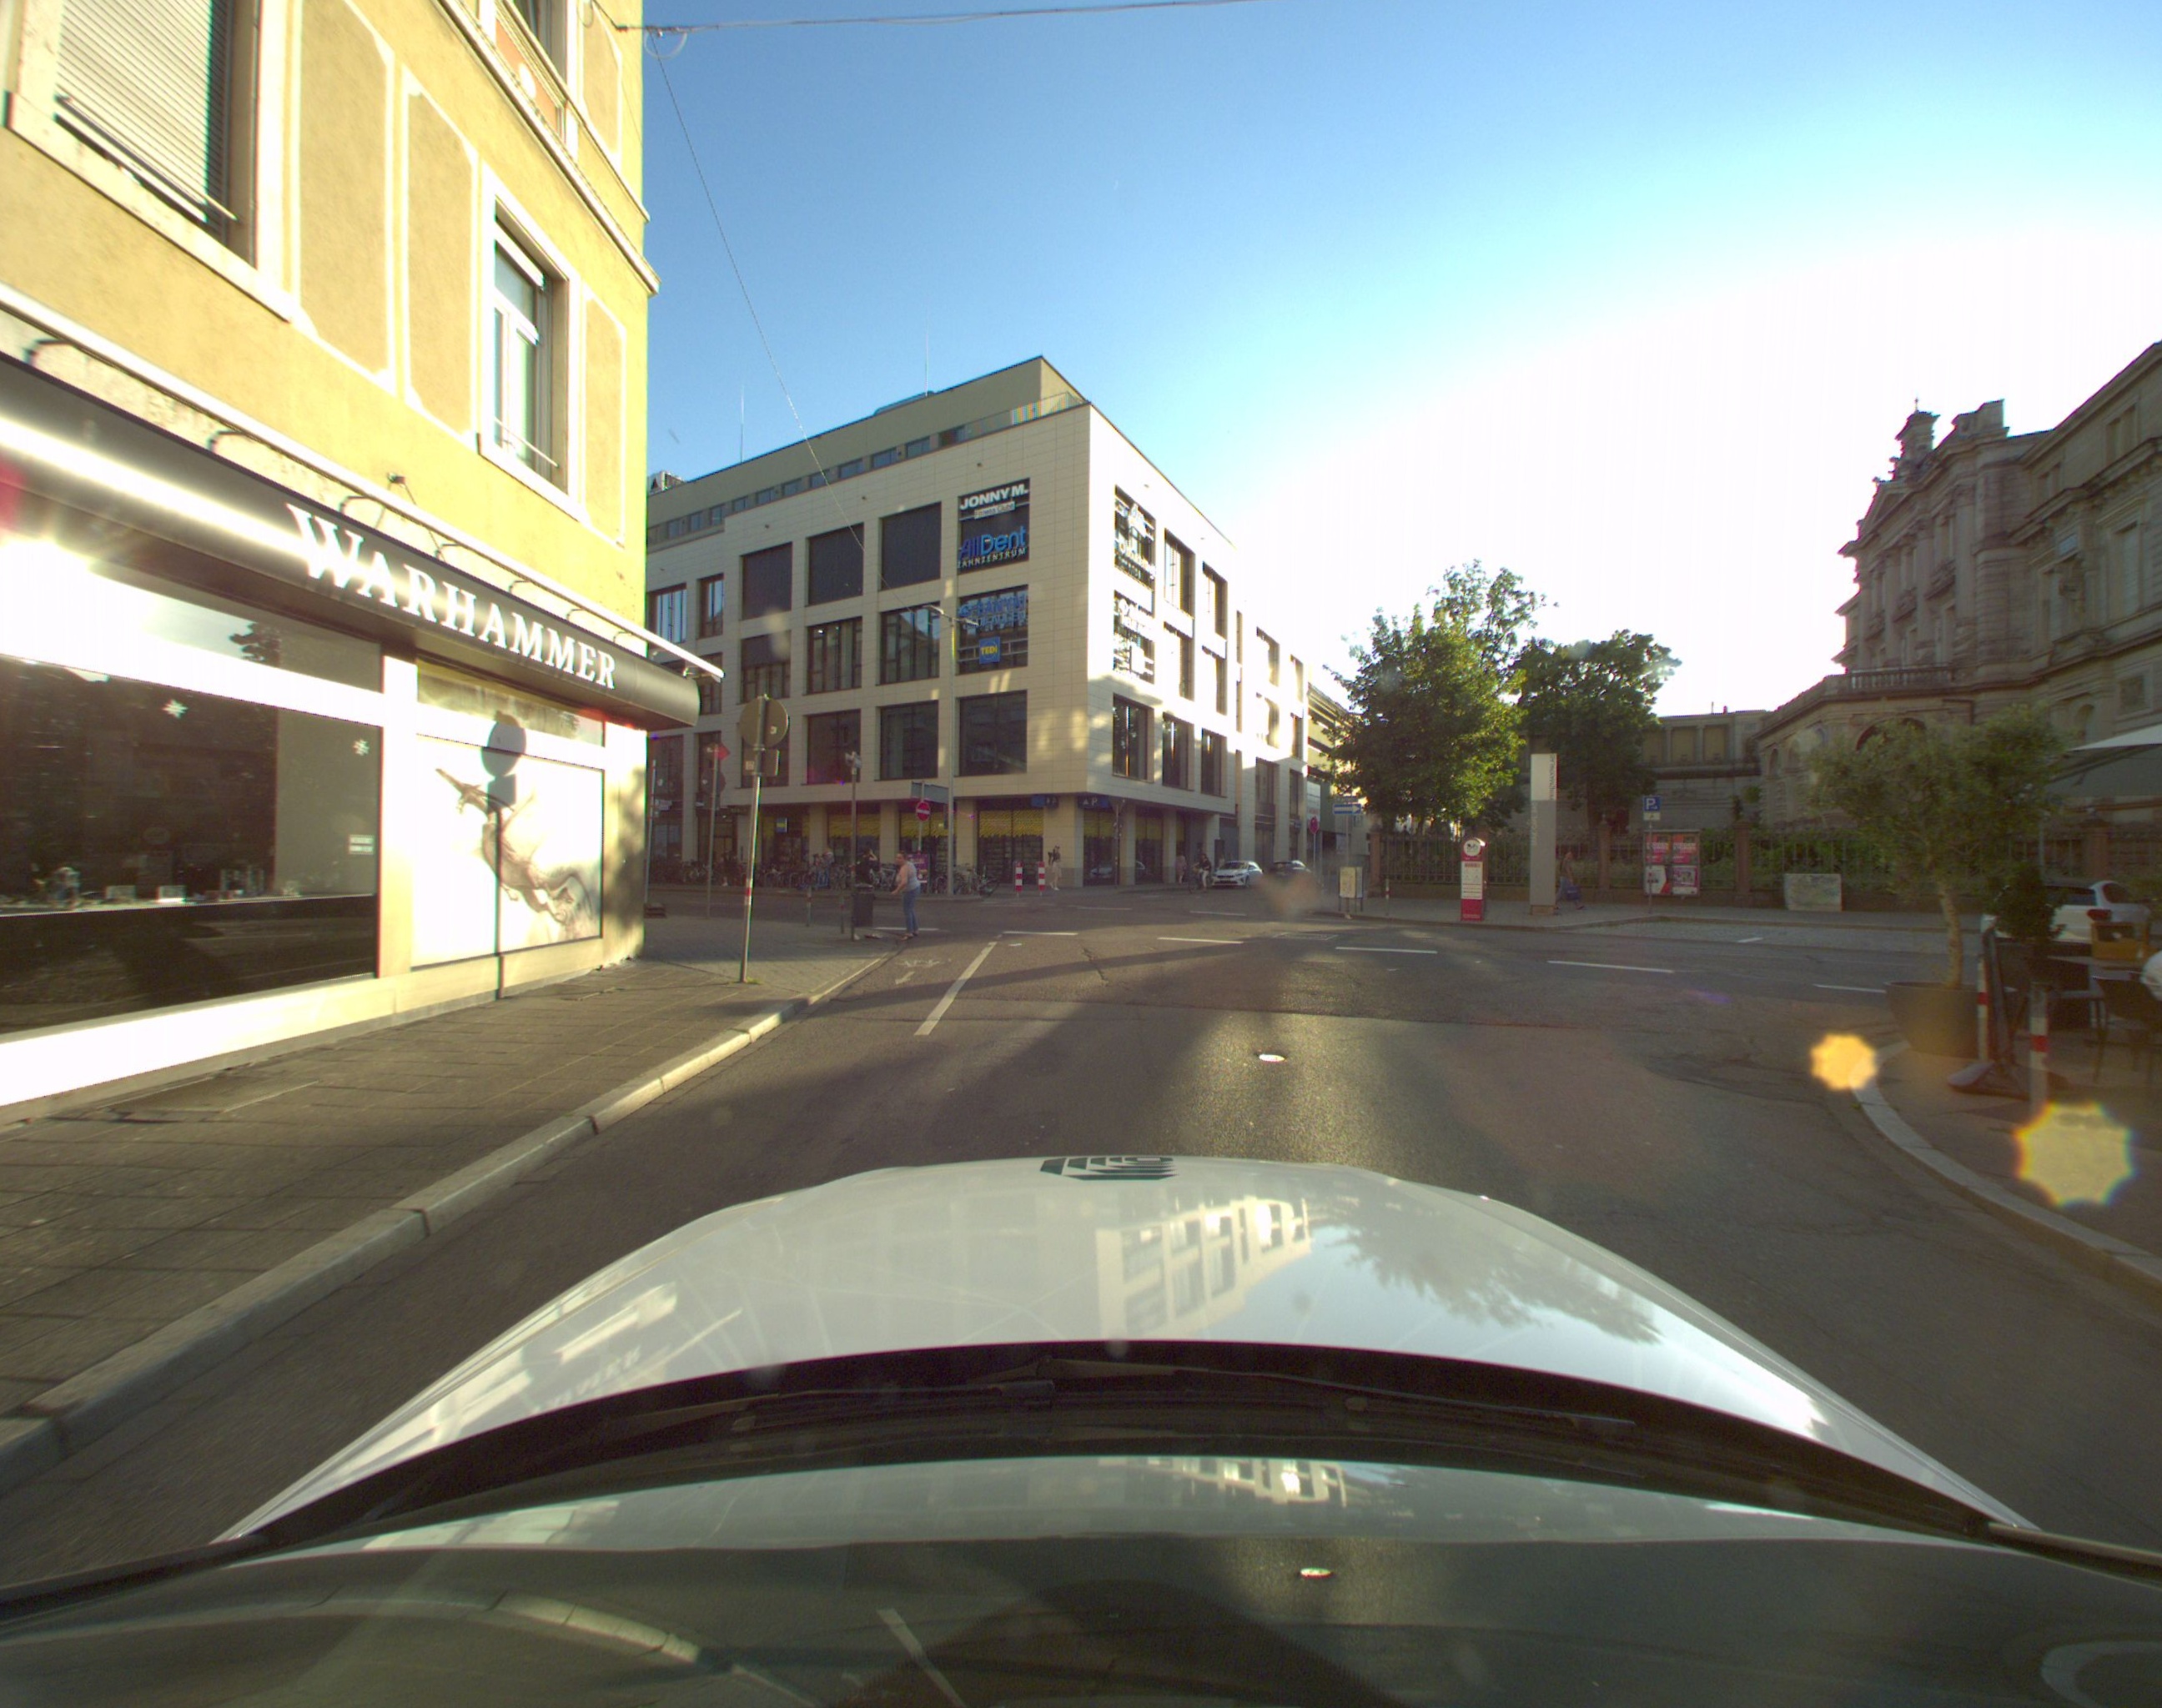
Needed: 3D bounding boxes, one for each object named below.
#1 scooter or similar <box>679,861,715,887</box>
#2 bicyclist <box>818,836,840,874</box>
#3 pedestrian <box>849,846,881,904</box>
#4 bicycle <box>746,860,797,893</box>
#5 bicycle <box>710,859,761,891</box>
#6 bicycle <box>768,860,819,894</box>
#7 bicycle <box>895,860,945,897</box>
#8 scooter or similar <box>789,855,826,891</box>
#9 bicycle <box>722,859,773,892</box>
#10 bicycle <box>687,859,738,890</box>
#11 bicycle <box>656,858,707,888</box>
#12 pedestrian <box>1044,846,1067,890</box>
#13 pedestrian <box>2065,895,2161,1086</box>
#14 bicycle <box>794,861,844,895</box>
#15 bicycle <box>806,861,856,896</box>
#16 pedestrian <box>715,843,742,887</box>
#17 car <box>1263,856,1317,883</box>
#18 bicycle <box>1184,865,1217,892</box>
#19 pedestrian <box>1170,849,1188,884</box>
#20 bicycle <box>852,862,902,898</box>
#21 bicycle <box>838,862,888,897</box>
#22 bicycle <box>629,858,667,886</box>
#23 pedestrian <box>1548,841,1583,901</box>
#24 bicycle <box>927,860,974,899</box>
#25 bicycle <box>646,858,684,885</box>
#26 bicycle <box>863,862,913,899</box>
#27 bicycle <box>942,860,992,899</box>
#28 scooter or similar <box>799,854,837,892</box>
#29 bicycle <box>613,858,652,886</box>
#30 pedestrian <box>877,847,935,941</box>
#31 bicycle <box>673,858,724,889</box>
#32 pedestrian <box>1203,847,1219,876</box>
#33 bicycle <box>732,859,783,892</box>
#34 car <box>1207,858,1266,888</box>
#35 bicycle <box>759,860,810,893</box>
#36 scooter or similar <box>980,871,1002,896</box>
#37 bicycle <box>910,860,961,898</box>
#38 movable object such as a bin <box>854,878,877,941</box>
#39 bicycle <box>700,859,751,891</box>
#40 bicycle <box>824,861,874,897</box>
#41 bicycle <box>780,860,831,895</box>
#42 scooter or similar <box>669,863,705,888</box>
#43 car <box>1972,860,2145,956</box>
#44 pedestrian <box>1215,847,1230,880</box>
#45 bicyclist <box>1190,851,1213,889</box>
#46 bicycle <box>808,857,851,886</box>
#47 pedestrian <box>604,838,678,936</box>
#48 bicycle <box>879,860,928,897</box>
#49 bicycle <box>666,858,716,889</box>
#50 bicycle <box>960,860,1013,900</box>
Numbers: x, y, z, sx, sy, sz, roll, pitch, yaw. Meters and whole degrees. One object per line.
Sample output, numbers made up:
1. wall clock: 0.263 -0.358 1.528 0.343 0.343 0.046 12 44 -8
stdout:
1. scooter or similar: -14.817 0.758 31.446 0.383 0.992 1.278 0 -1 28
2. bicyclist: -11.219 0.054 36.274 0.636 1.695 0.688 0 -1 30
3. pedestrian: -6.242 0.599 23.560 0.870 1.658 0.616 1 -1 -14
4. bicycle: -12.144 0.871 32.046 0.507 1.255 1.991 0 -1 28
5. bicycle: -13.916 0.850 32.873 0.507 1.255 1.991 0 -1 28
6. bicycle: -11.025 0.882 31.316 0.507 1.255 1.991 0 -1 28
7. bicycle: -5.557 0.839 28.246 0.507 1.255 1.991 0 -1 28
8. scooter or similar: -9.281 0.645 27.666 0.383 1.212 1.278 0 -1 28
9. bicycle: -13.347 0.857 32.613 0.507 1.255 1.991 0 -1 28
10. bicycle: -15.265 0.837 33.769 0.507 1.255 1.991 0 -1 28
11. bicycle: -17.170 0.819 35.055 0.507 1.255 1.991 0 -1 28
12. pedestrian: -1.011 0.545 32.385 0.639 1.723 0.838 1 -1 -26
13. pedestrian: 7.227 0.887 5.335 0.602 1.188 0.824 1 0 9
14. bicycle: -9.833 0.894 30.631 0.507 1.255 1.991 0 -1 28
15. bicycle: -9.280 0.901 30.343 0.507 1.255 1.990 1 -1 26
16. pedestrian: -13.675 0.410 31.566 0.636 1.695 0.688 0 -1 32
17. car: 12.822 0.927 49.747 1.865 1.598 4.718 0 0 32
18. bicycle: 5.169 1.047 35.051 0.657 1.138 1.833 0 -1 34
19. pedestrian: 4.917 0.627 40.860 0.665 1.744 0.651 0 -1 30
20. bicycle: -7.292 0.922 29.207 0.507 1.255 1.991 0 -1 28
21. bicycle: -7.900 0.916 29.570 0.507 1.255 1.991 0 -1 28
22. bicycle: -20.360 0.834 38.278 1.954 1.255 0.516 1 -1 27
23. pedestrian: 13.787 0.461 23.202 0.698 1.670 0.645 0 1 16
24. bicycle: -4.391 0.846 27.536 0.507 1.255 1.990 1 -1 26
25. bicycle: -19.830 0.826 38.801 1.954 1.255 0.516 1 -1 27
26. bicycle: -6.811 0.927 28.909 0.507 1.255 1.991 0 -1 28
27. bicycle: -3.806 0.846 27.292 0.575 1.255 2.056 1 -1 26
28. scooter or similar: -8.804 0.630 27.331 0.383 1.260 1.278 0 -1 28
29. bicycle: -20.723 0.805 37.617 1.954 1.255 0.516 1 -1 27
30. pedestrian: -3.124 0.690 14.522 0.807 1.613 0.727 1 -1 -31
31. bicycle: -15.958 0.828 34.040 0.507 1.255 1.991 0 -1 28
32. pedestrian: 7.432 0.428 46.539 0.665 1.675 0.651 0 -1 27
33. bicycle: -12.816 0.863 32.347 0.507 1.255 1.991 0 -1 28
34. car: 8.035 0.957 41.822 1.761 1.453 4.256 0 0 28
35. bicycle: -11.540 0.878 31.744 0.507 1.255 1.991 0 -1 28
36. scooter or similar: -3.171 1.032 28.593 0.383 0.884 0.774 0 -1 28
37. bicycle: -4.943 0.835 27.810 0.507 1.255 1.991 0 -1 30
38. movable object such as a bin: -3.726 0.949 14.086 0.359 1.063 0.355 1 -1 -12
39. bicycle: -14.549 0.845 33.372 0.507 1.255 1.991 0 -1 28
40. bicycle: -8.524 0.910 30.004 0.507 1.255 1.991 0 -1 28
41. bicycle: -10.477 0.888 31.068 0.507 1.255 1.991 0 -1 28
42. scooter or similar: -15.380 0.835 31.812 0.383 0.942 1.278 0 -1 28
43. car: 19.620 0.979 16.314 3.925 1.446 1.737 -4 2 -33
44. pedestrian: 8.030 0.547 46.220 0.665 1.836 0.651 0 -1 27
45. bicyclist: 5.187 0.688 35.084 0.652 1.570 0.868 0 -1 34
46. bicycle: -11.220 0.757 36.269 1.954 1.255 0.616 1 -1 29
47. pedestrian: -7.428 0.545 13.783 0.728 1.613 0.807 0 -1 9
48. bicycle: -6.226 0.841 28.643 0.507 1.255 1.990 0 -1 27
49. bicycle: -16.503 0.824 34.512 0.507 1.255 1.991 0 -1 28
50. bicycle: -3.106 0.851 26.990 0.658 1.255 2.153 1 -1 26
